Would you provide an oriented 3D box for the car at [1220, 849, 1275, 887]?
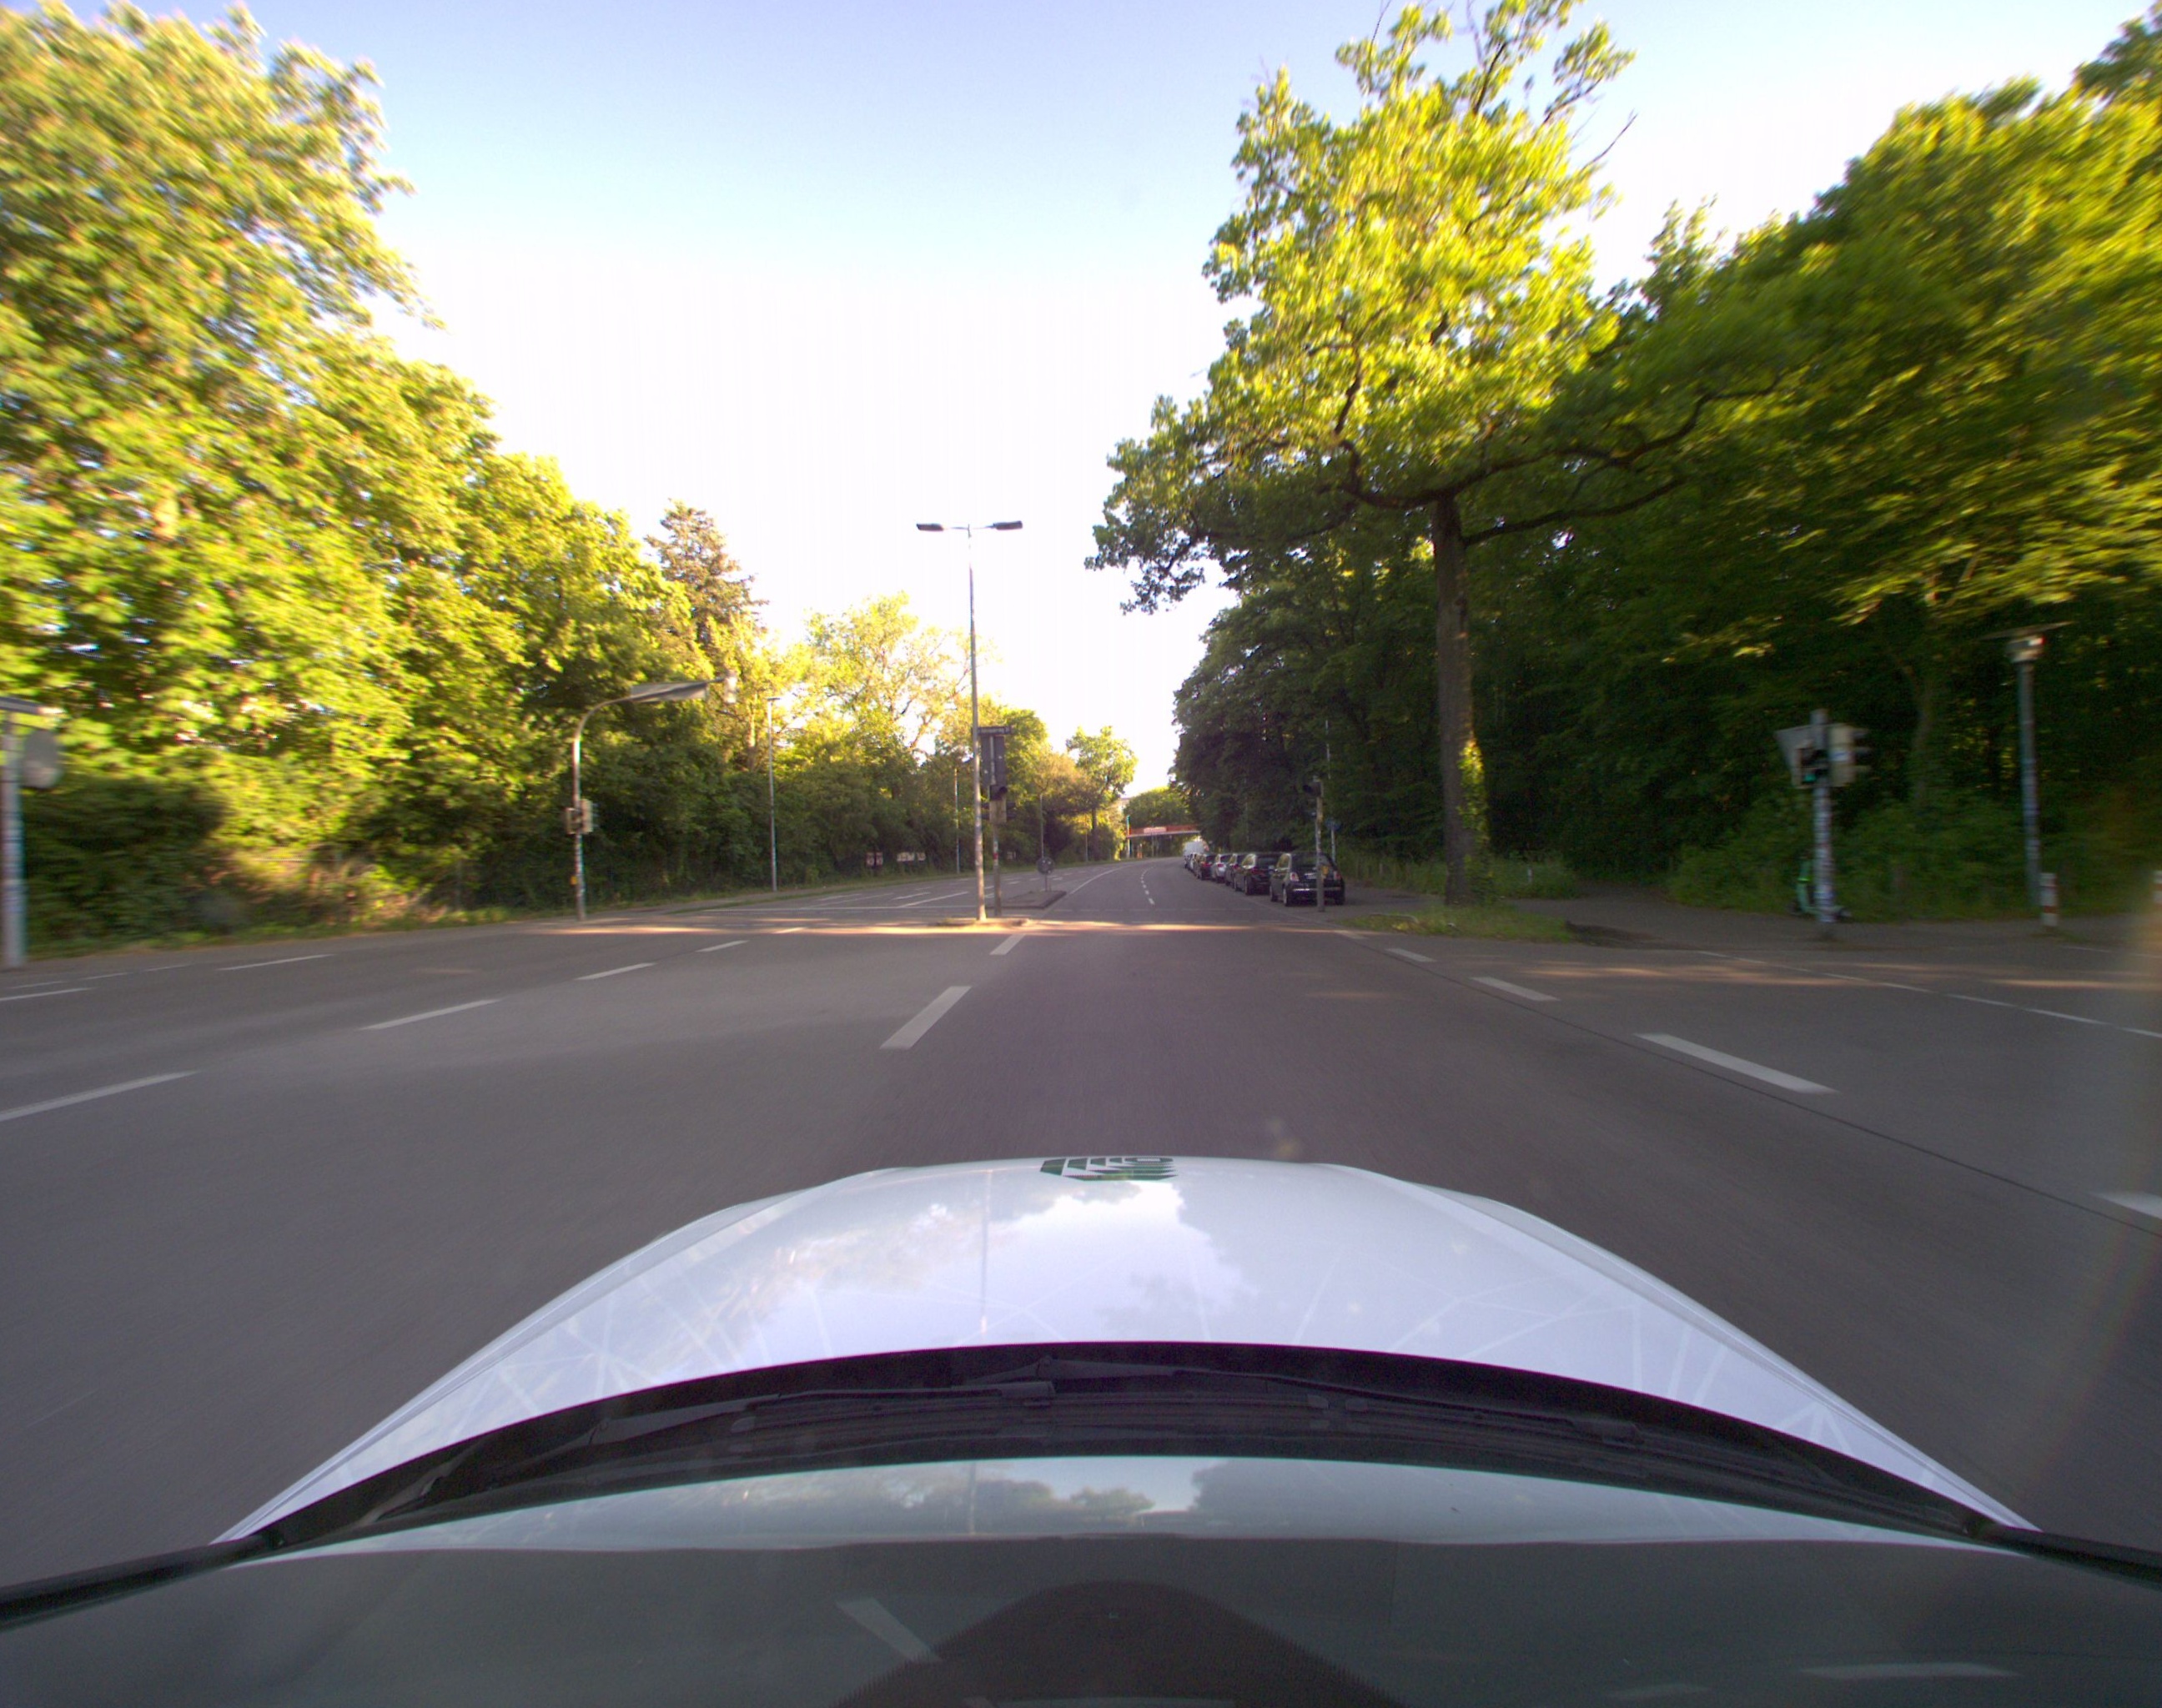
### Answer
[{"bbox_3d":[7.215,0.571,35.597,1.711,1.469,4.206,-3,0,3],"label":"car"}]

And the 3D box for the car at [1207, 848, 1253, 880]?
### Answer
[{"bbox_3d":[7.425,0.484,40.801,1.711,1.411,4.128,-3,0,3],"label":"car"}]

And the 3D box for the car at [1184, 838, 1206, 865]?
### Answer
[{"bbox_3d":[11.119,-0.222,79.473,1.893,2.423,5.589,-3,0,8],"label":"car"}]

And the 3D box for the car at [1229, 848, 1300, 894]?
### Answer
[{"bbox_3d":[6.654,0.583,30.040,1.710,1.469,4.992,-3,0,3],"label":"car"}]

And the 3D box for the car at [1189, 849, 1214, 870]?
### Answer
[{"bbox_3d":[9.135,0.394,61.930,1.669,1.464,3.695,-3,0,6],"label":"car"}]

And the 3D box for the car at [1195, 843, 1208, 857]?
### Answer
[{"bbox_3d":[18.790,-0.657,126.898,1.857,1.981,5.490,-3,0,10],"label":"car"}]

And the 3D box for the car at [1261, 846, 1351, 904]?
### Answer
[{"bbox_3d":[6.417,0.571,23.611,1.710,1.469,3.760,-3,0,3],"label":"car"}]

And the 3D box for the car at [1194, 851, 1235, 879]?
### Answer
[{"bbox_3d":[7.445,0.577,45.754,1.711,1.411,4.491,-3,0,3],"label":"car"}]

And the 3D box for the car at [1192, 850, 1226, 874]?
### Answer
[{"bbox_3d":[7.977,0.478,51.127,1.710,1.411,4.493,-3,0,5],"label":"car"}]

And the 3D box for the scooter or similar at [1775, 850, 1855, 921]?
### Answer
[{"bbox_3d":[12.454,0.514,13.850,0.376,1.144,1.226,-1,0,8],"label":"scooter or similar"}]

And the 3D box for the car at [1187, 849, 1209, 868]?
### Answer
[{"bbox_3d":[9.693,0.339,67.719,1.668,1.464,4.074,-3,0,7],"label":"car"}]
